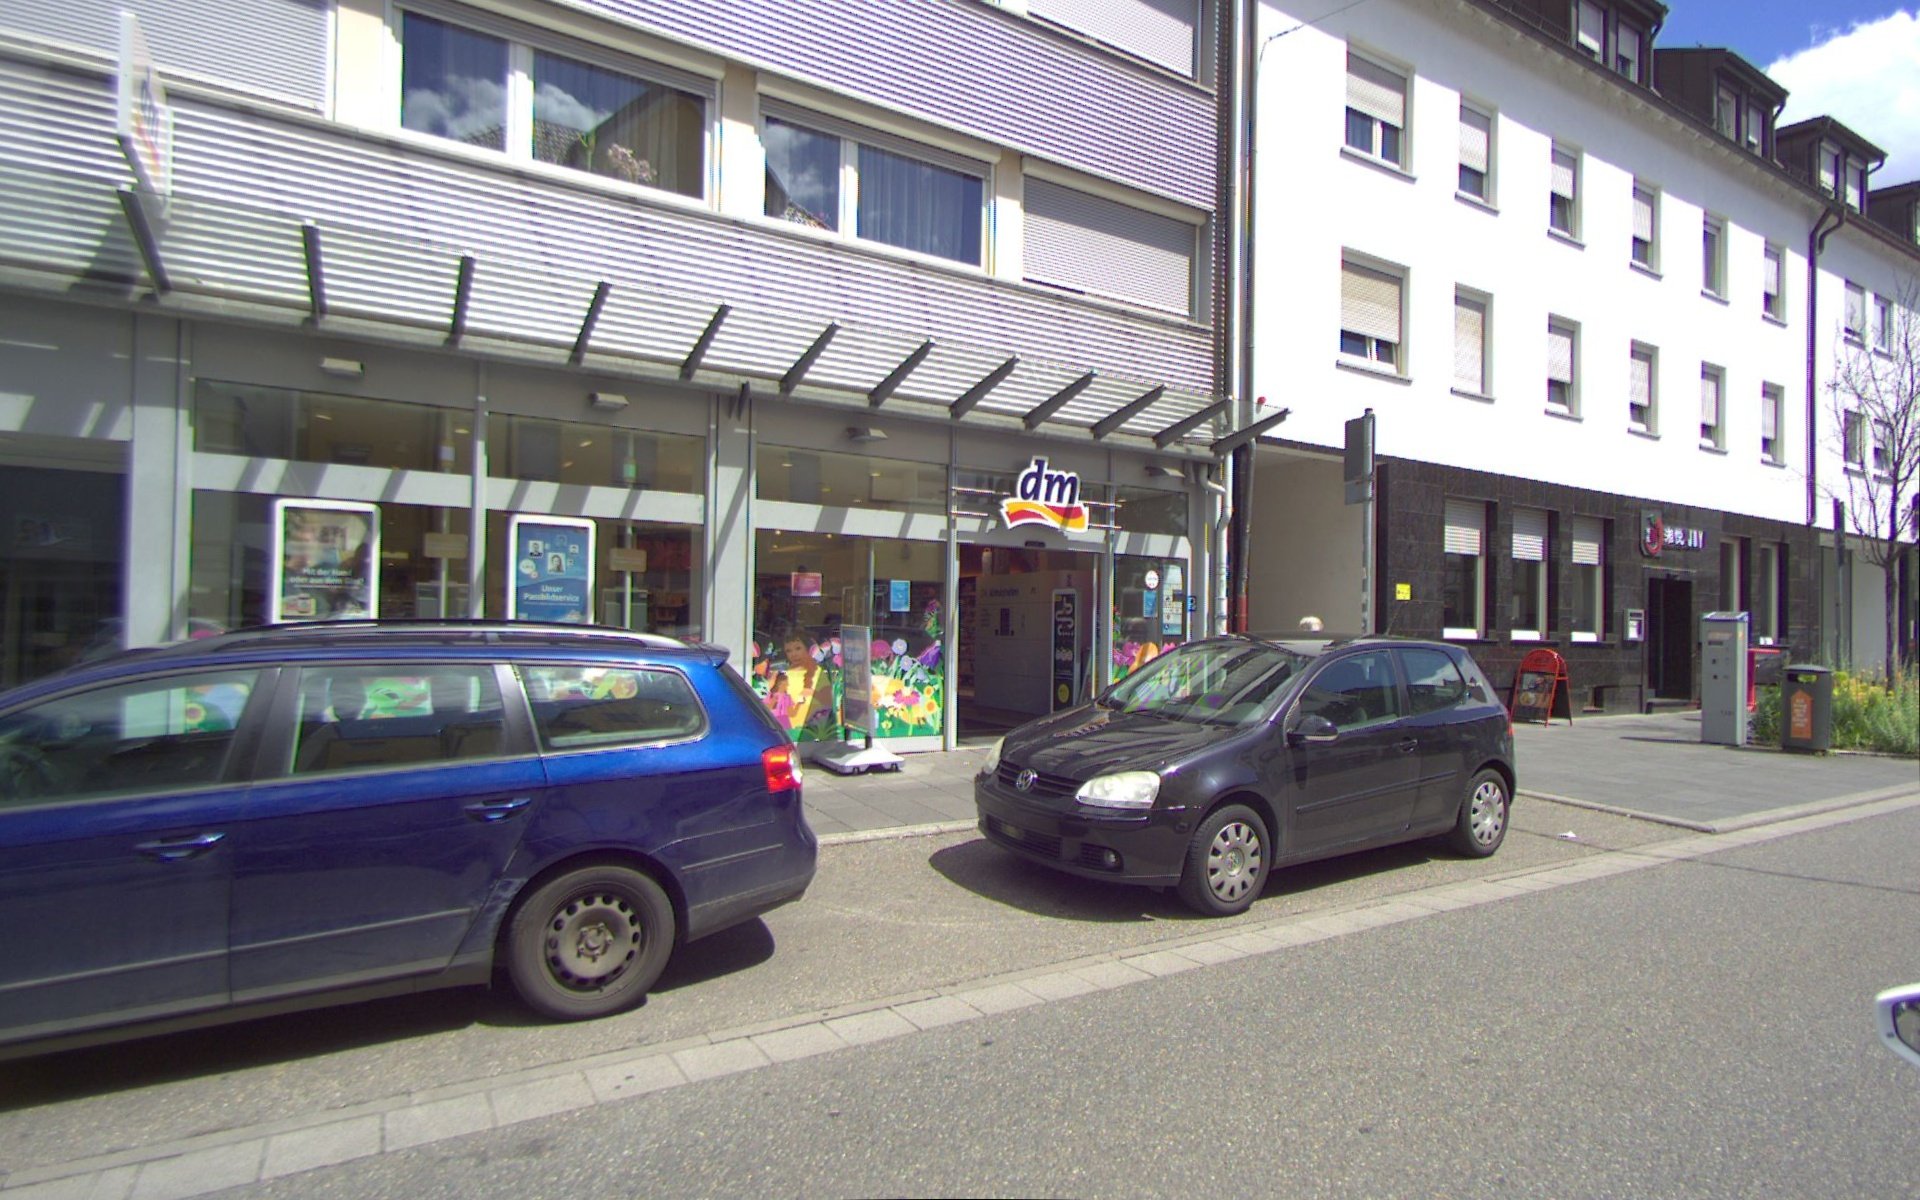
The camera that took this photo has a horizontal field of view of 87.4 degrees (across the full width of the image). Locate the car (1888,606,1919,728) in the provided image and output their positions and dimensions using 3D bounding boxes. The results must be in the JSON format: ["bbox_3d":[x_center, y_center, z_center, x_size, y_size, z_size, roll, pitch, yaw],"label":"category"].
[{"bbox_3d":[16.406,1.076,15.354,4.610,1.778,1.809,2,0,-28],"label":"car"}]

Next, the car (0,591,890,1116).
[{"bbox_3d":[-2.772,0.768,4.041,4.657,1.533,1.781,2,0,-30],"label":"car"}]

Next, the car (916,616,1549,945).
[{"bbox_3d":[1.943,0.947,6.700,4.134,1.523,1.779,2,0,-34],"label":"car"}]

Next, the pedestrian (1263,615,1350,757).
[{"bbox_3d":[3.777,0.914,10.969,0.556,1.474,0.651,2,0,-30],"label":"pedestrian"}]
